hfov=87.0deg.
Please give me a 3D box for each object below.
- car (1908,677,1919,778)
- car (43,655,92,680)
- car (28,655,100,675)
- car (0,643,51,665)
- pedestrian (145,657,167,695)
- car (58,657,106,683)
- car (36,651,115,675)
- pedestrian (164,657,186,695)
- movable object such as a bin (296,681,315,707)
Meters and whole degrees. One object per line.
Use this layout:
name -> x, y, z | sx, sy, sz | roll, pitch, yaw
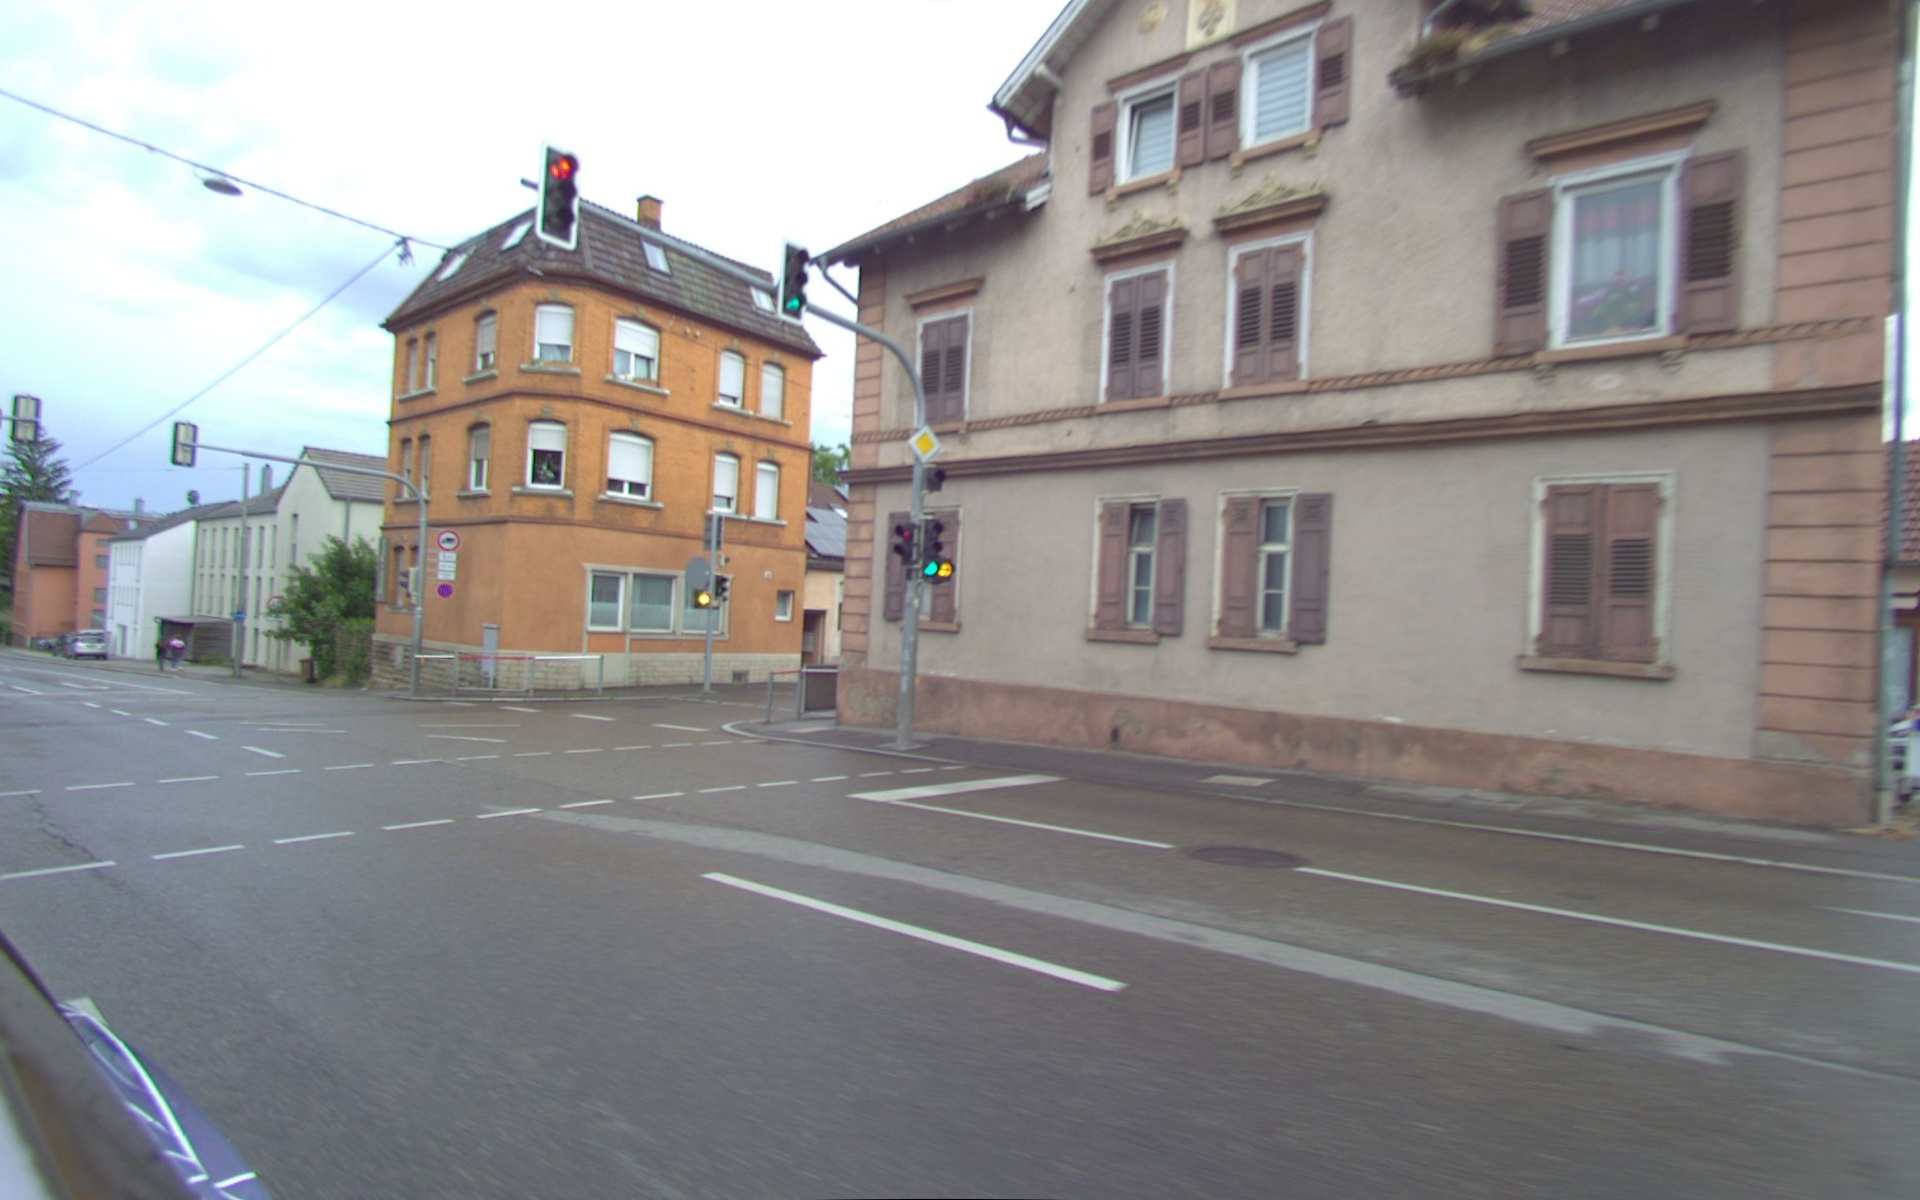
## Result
car -> 17.149, 2.020, 15.302 | 3.998, 1.528, 1.679 | -1, -2, 41
car -> -61.099, 4.621, 69.272 | 4.077, 1.564, 1.729 | -2, -2, 37
car -> -71.389, 5.167, 80.647 | 2.000, 1.444, 4.116 | -2, -2, 43
car -> -91.287, 5.214, 98.683 | 3.938, 2.029, 2.003 | 2, -2, -42
pedestrian -> -37.092, 3.498, 46.693 | 0.911, 1.719, 0.633 | -2, -3, 42
car -> -55.848, 4.436, 64.371 | 4.176, 1.519, 1.726 | -2, -4, 41
car -> -69.274, 4.914, 79.278 | 2.153, 1.620, 4.482 | -2, -2, 43
pedestrian -> -36.629, 3.519, 47.206 | 0.911, 1.719, 0.633 | -2, -3, 42
movable object such as a bin -> -24.236, 3.482, 37.471 | 0.525, 0.932, 0.405 | -1, -2, 35
